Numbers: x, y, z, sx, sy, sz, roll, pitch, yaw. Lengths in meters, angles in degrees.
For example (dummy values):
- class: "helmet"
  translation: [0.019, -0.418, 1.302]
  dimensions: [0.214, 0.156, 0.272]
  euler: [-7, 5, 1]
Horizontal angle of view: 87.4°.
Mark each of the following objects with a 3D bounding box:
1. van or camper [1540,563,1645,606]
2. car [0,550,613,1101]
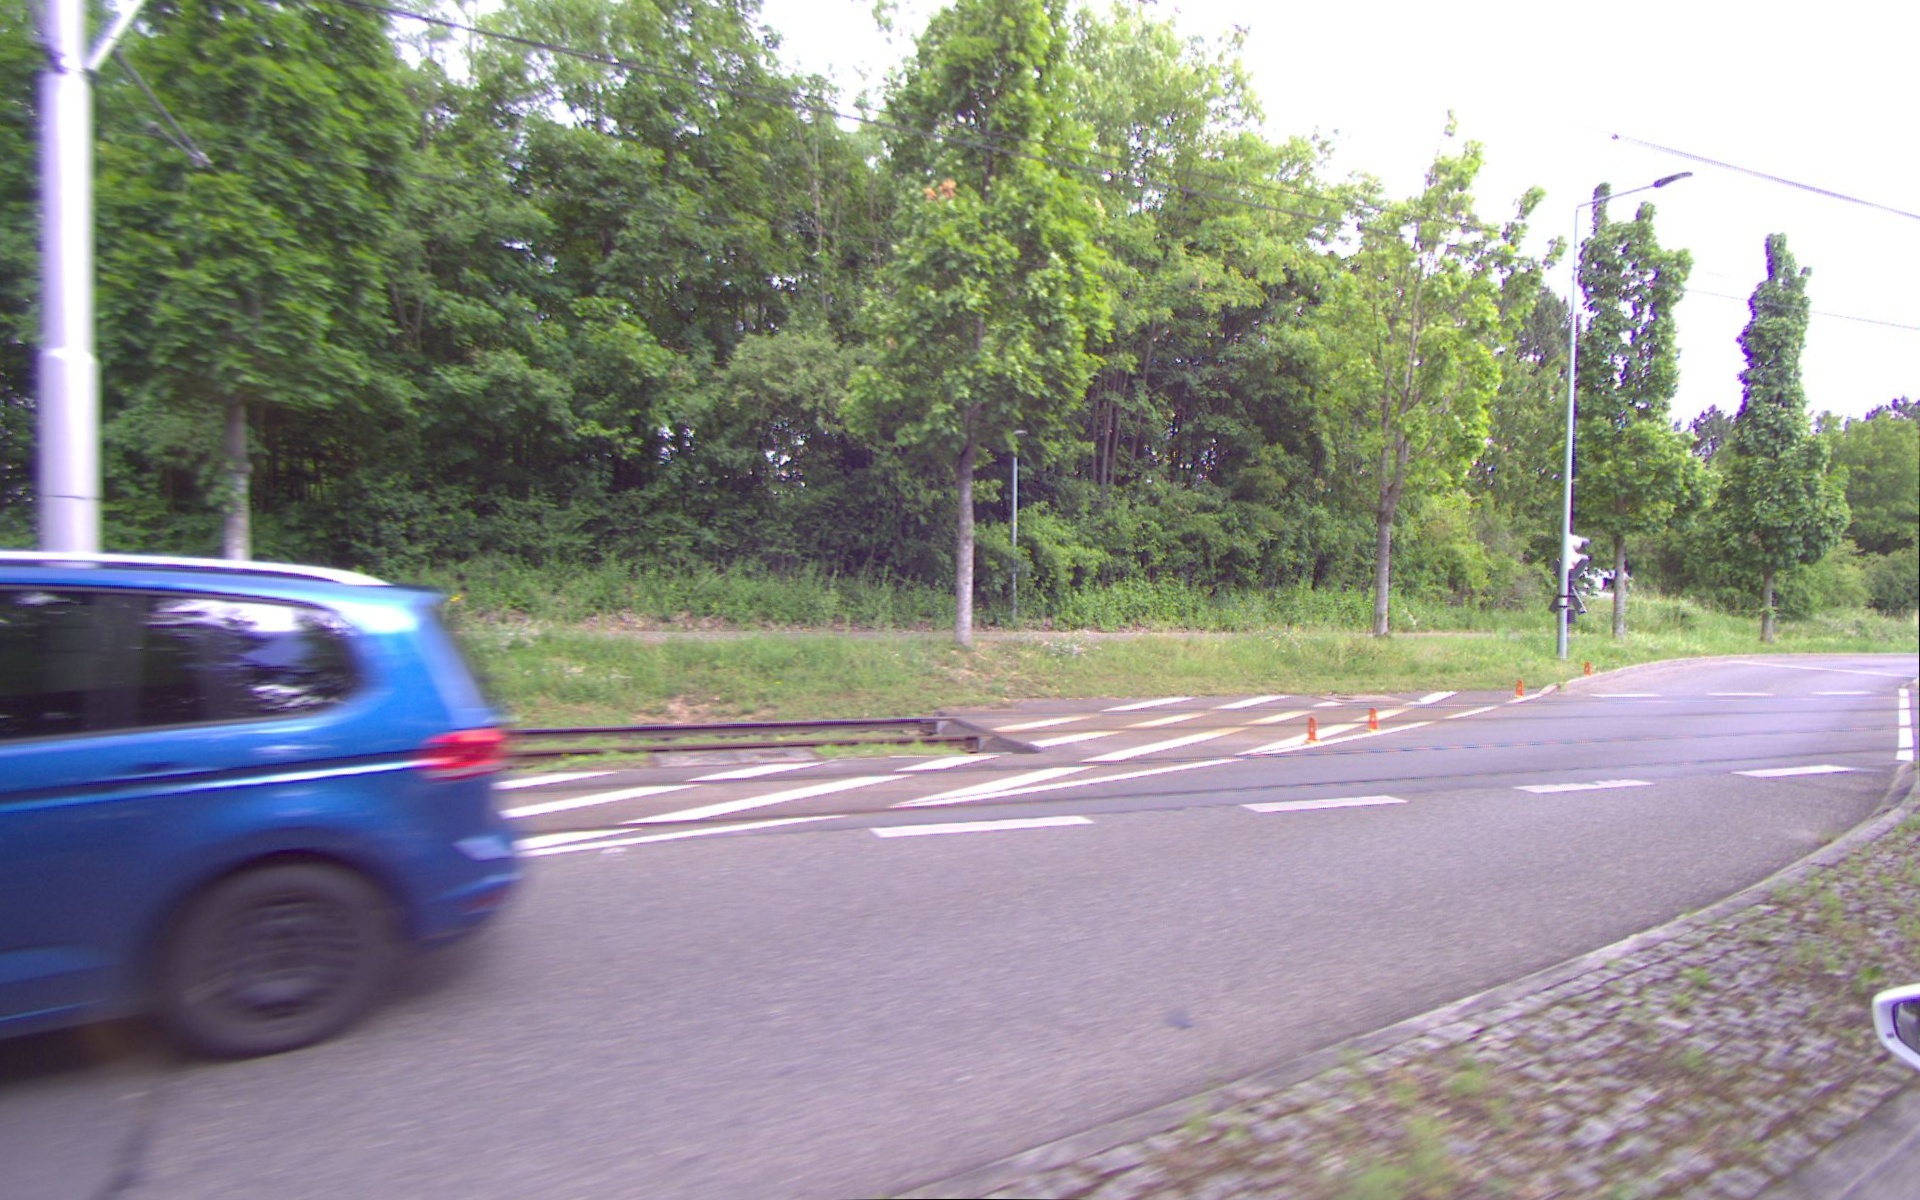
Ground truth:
- class: "van or camper"
  translation: [29.999, -0.728, 47.633]
  dimensions: [4.565, 1.902, 1.988]
  euler: [1, 1, -24]
- class: "car"
  translation: [-3.537, 0.609, 3.298]
  dimensions: [4.199, 1.541, 1.853]
  euler: [-1, 2, -37]
